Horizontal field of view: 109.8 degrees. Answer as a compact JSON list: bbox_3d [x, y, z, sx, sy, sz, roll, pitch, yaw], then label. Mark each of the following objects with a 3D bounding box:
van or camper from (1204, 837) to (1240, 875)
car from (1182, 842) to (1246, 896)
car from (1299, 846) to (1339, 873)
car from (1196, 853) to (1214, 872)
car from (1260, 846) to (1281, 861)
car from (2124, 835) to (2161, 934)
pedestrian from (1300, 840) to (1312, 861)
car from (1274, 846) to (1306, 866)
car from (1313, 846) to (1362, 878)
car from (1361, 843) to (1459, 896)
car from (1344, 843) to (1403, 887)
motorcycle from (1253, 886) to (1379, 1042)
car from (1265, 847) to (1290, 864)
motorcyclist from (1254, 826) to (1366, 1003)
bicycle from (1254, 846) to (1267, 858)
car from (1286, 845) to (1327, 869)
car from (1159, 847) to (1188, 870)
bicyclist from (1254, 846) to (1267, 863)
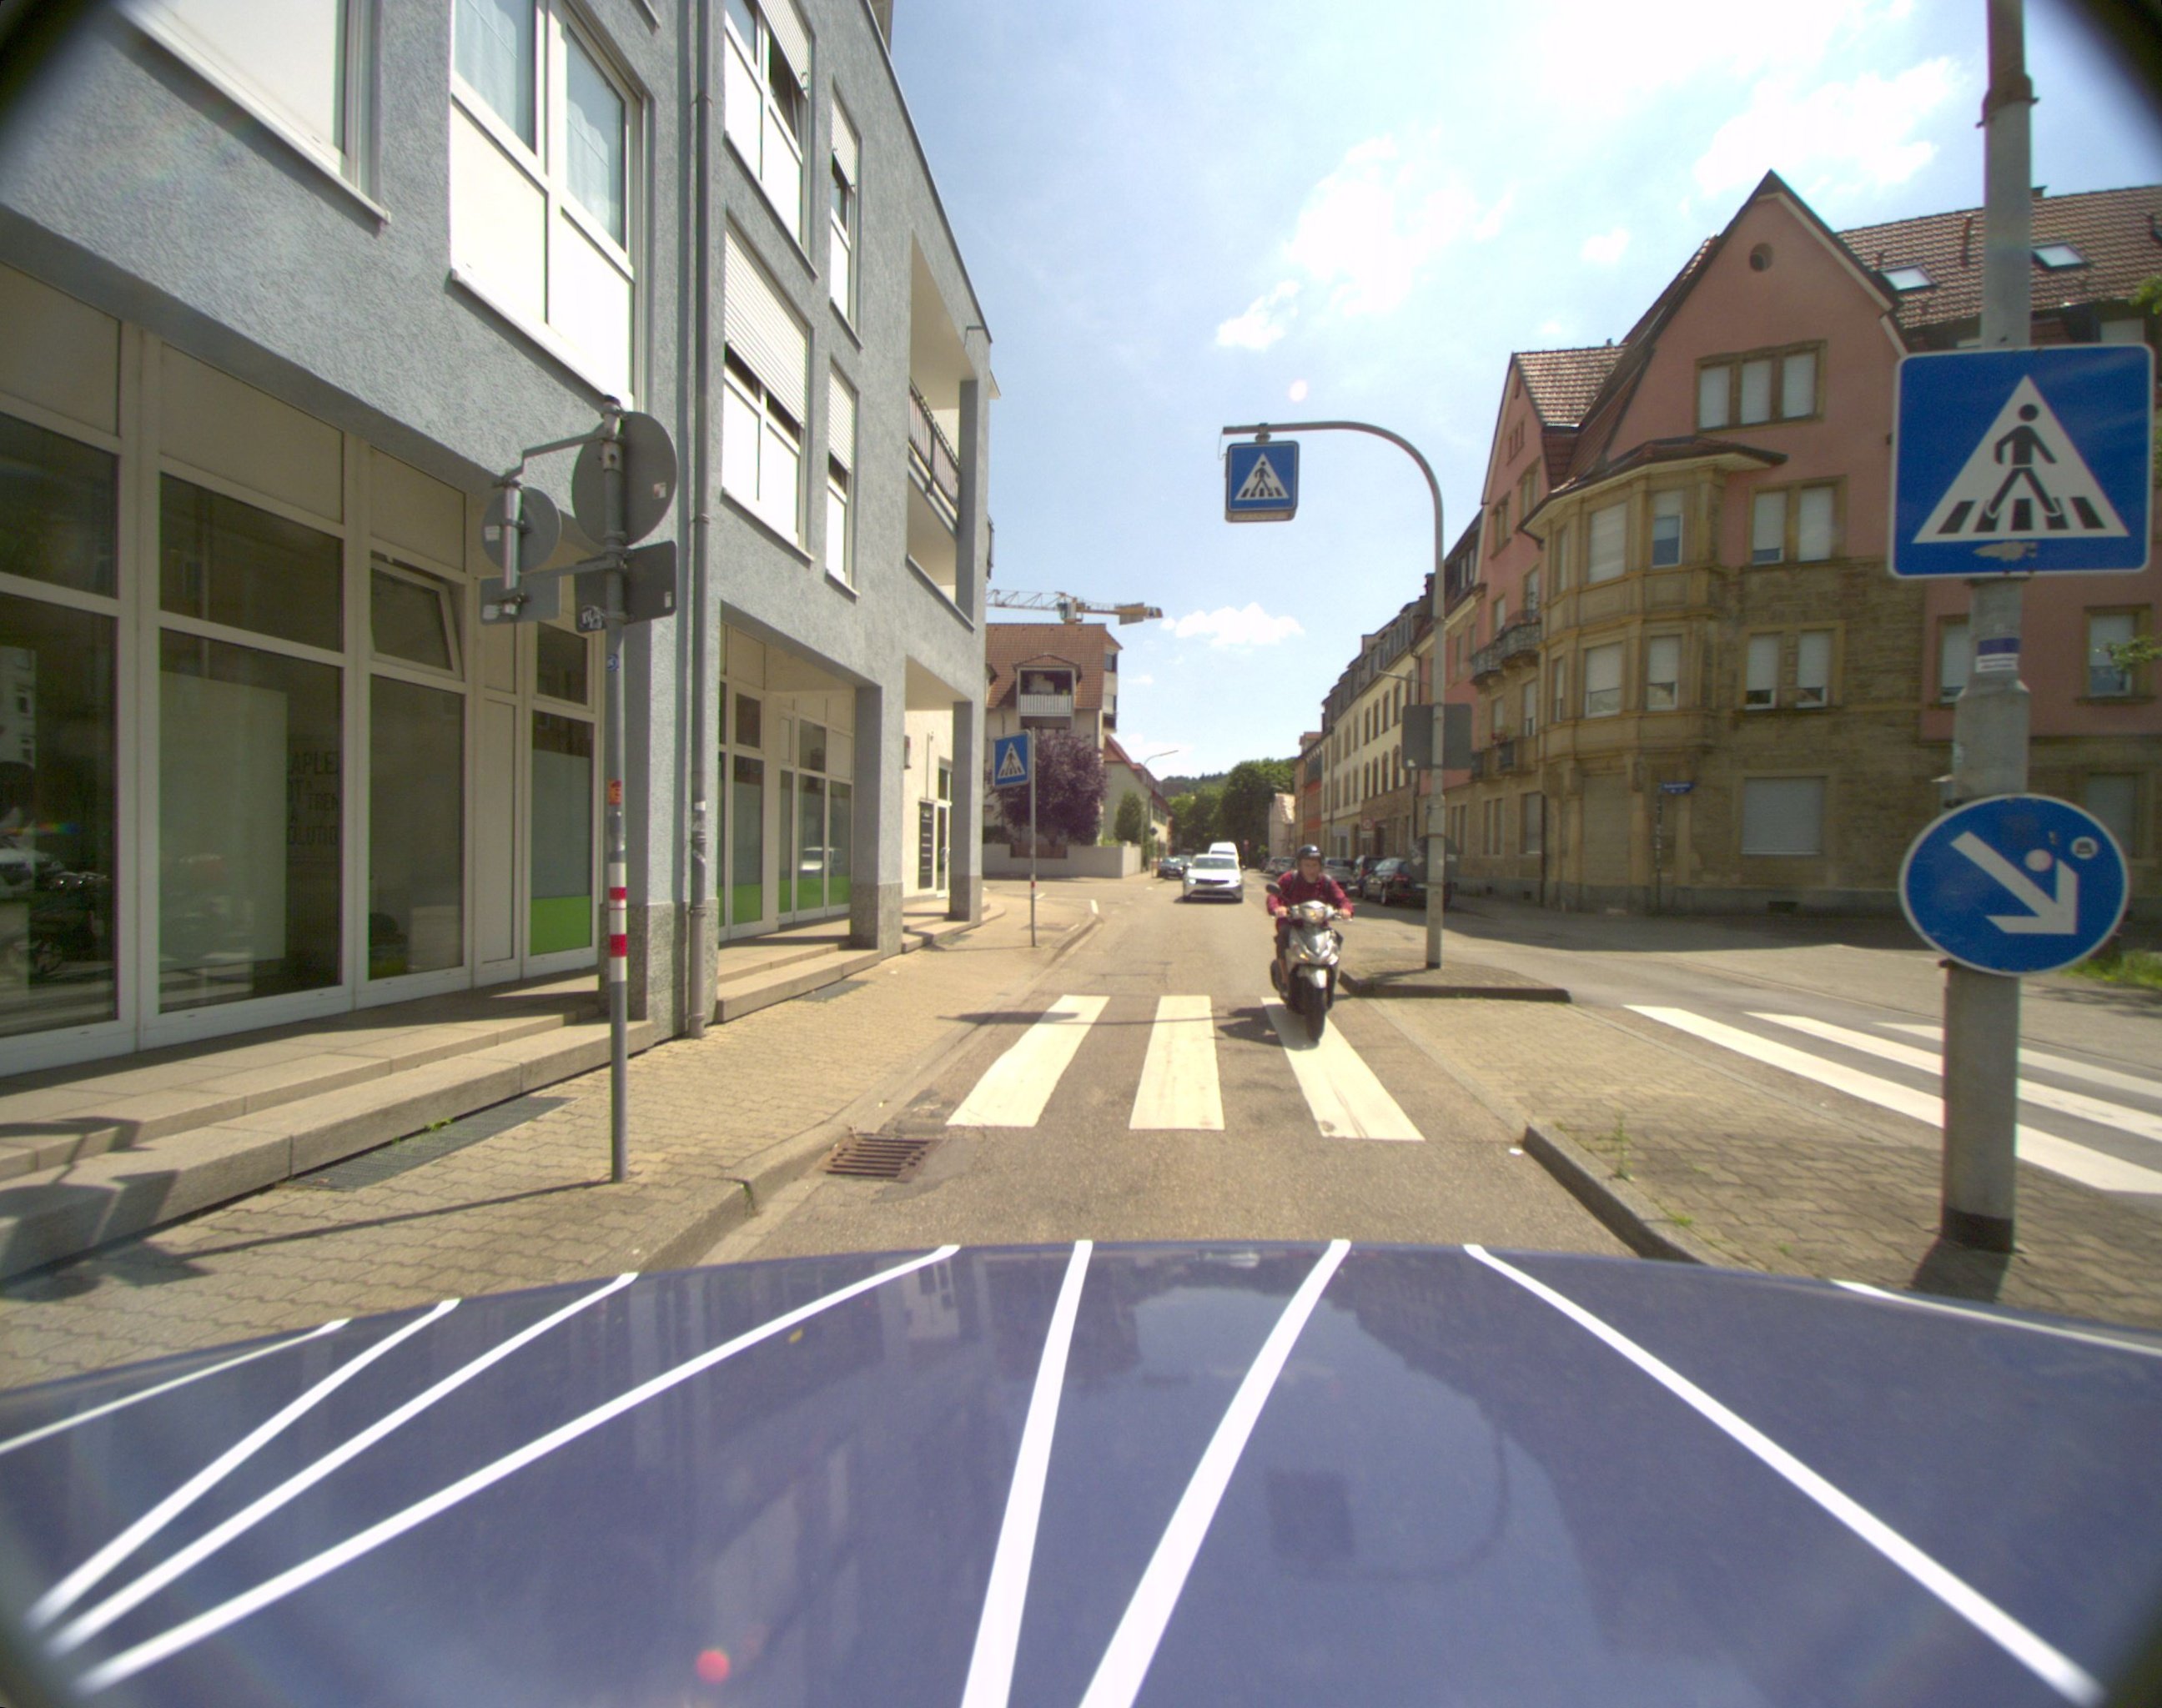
[{"bbox_3d":[8.743,0.117,47.437,1.997,2.274,5.147,0,0,8],"label":"van or camper"},{"bbox_3d":[4.116,0.415,23.836,1.811,1.512,4.002,-1,0,8],"label":"car"},{"bbox_3d":[13.317,0.284,42.633,1.601,1.434,3.497,0,1,8],"label":"car"},{"bbox_3d":[14.598,0.966,89.585,1.997,2.002,4.002,-2,1,10],"label":"car"},{"bbox_3d":[19.559,-0.070,78.565,1.731,1.434,3.859,0,1,8],"label":"car"},{"bbox_3d":[18.240,0.429,10.667,3.993,1.493,1.871,-1,1,13],"label":"car"},{"bbox_3d":[19.121,-0.269,64.590,0.769,1.761,0.764,-2,1,8],"label":"pedestrian"},{"bbox_3d":[15.809,0.135,57.583,1.881,1.502,4.384,0,1,9],"label":"car"},{"bbox_3d":[12.405,0.331,36.972,1.637,1.423,4.021,1,1,10],"label":"car"},{"bbox_3d":[10.116,0.396,23.710,1.786,1.450,4.637,0,1,10],"label":"car"},{"bbox_3d":[10.661,0.349,27.843,1.439,1.514,2.697,0,1,9],"label":"car"},{"bbox_3d":[1.963,0.862,6.639,0.759,1.049,1.993,-1,0,9],"label":"motorcycle"},{"bbox_3d":[17.134,0.095,66.397,1.713,1.451,3.855,1,1,9],"label":"car"},{"bbox_3d":[1.980,0.493,6.711,0.792,1.431,1.021,-1,1,9],"label":"motorcyclist"},{"bbox_3d":[19.589,-0.236,82.890,1.887,1.268,0.228,1,2,-35],"label":"bicycle"},{"bbox_3d":[14.269,0.183,48.204,1.876,1.430,4.221,0,1,8],"label":"car"},{"bbox_3d":[5.591,0.238,45.831,1.659,1.368,4.241,0,1,7],"label":"car"},{"bbox_3d":[19.590,0.045,82.935,1.169,1.752,0.641,0,2,-36],"label":"bicyclist"}]
